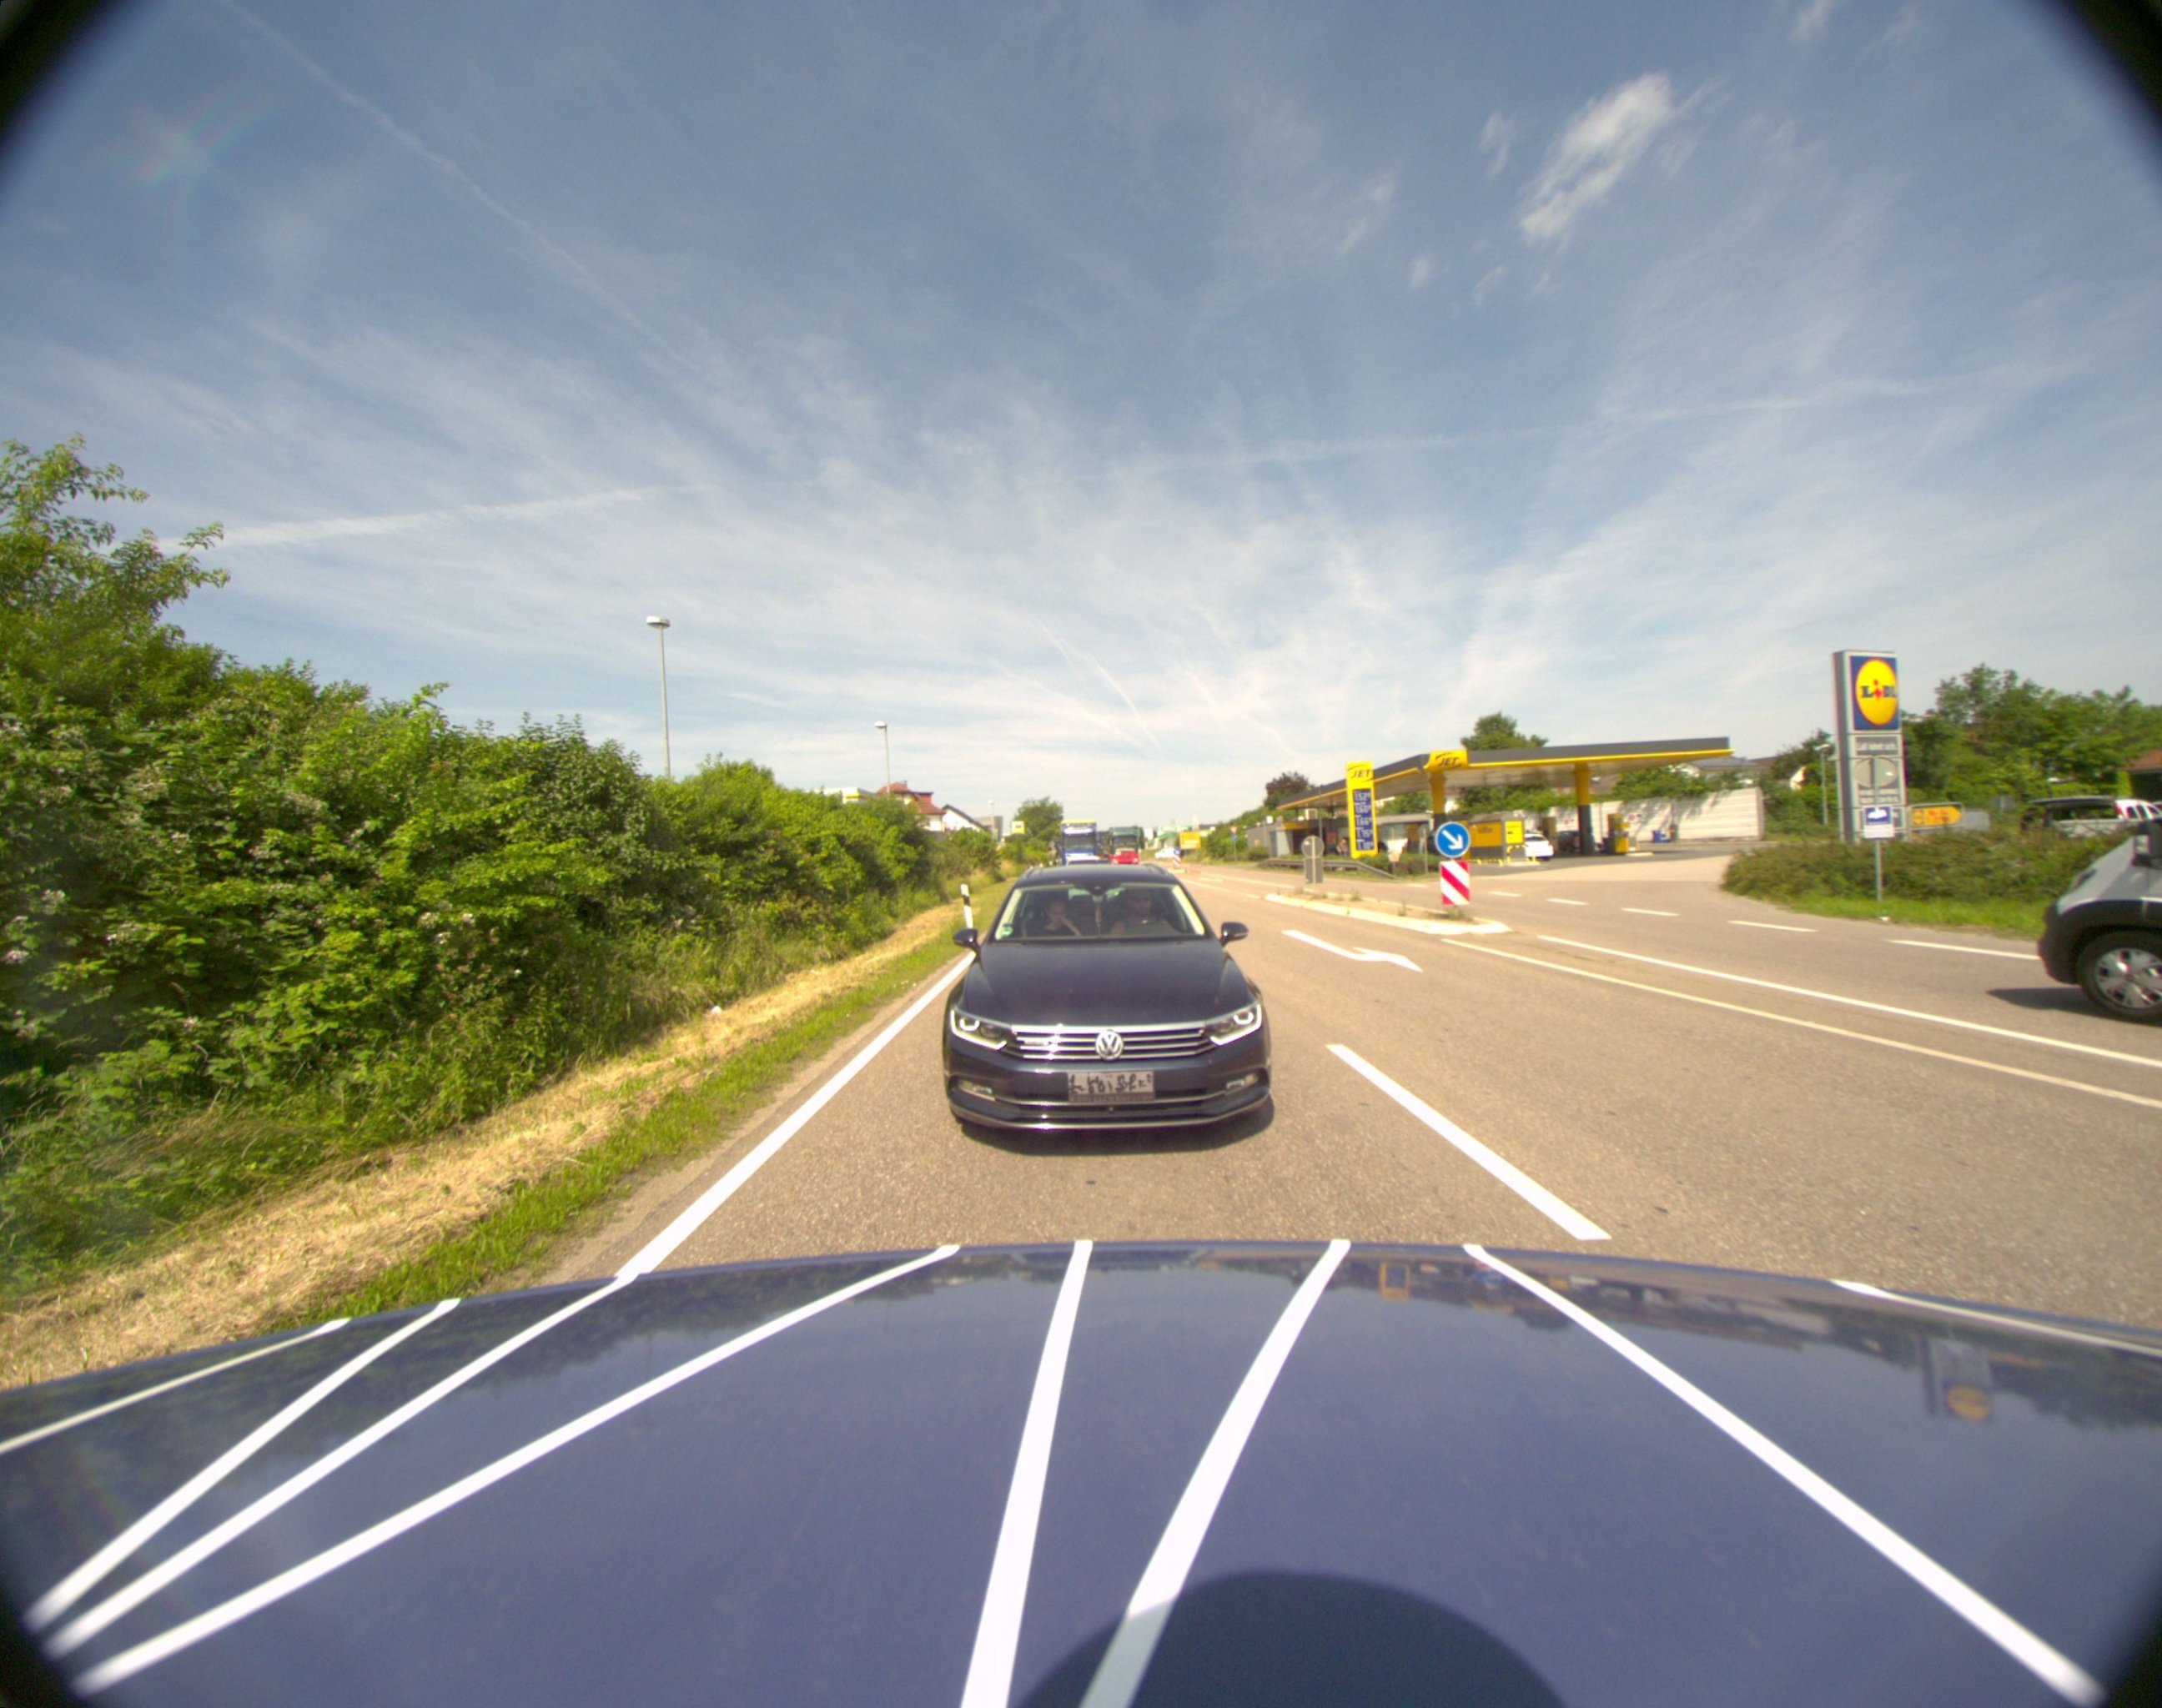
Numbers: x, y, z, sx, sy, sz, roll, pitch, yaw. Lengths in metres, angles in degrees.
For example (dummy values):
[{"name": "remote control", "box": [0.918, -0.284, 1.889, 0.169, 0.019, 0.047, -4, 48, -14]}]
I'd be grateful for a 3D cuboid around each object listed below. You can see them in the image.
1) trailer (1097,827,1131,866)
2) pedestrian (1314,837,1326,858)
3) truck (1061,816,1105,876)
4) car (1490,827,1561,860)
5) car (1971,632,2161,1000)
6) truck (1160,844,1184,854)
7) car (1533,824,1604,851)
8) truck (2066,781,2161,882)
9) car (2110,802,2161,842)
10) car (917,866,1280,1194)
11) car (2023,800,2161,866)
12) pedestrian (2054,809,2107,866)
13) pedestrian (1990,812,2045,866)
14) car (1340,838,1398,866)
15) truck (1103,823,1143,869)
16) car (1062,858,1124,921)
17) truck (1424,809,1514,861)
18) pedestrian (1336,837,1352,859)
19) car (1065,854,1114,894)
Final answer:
[{"name": "trailer", "box": [3.455, -0.773, 81.363, 2.809, 3.897, 8.667, -3, 0, -2]}, {"name": "pedestrian", "box": [20.908, -0.569, 66.507, 0.798, 1.827, 0.640, -3, 1, 1]}, {"name": "truck", "box": [0.237, -0.579, 58.108, 2.855, 3.999, 12.916, -2, 0, 1]}, {"name": "car", "box": [24.240, -0.551, 41.633, 1.736, 1.718, 4.001, -1, 0, 3]}, {"name": "car", "box": [8.694, -0.311, 3.599, 2.122, 2.638, 5.988, -2, 0, 4]}, {"name": "truck", "box": [19.502, -1.091, 162.514, 4.771, 1.997, 2.000, -3, 1, 0]}, {"name": "car", "box": [32.190, -1.065, 50.330, 1.753, 1.603, 3.873, -2, 0, -10]}, {"name": "truck", "box": [27.089, -0.591, 16.724, 2.252, 2.361, 6.336, -2, 0, -30]}, {"name": "car", "box": [44.671, -1.400, 30.779, 3.999, 1.531, 1.769, -3, 0, -7]}, {"name": "car", "box": [0.126, 0.918, 6.240, 1.756, 1.493, 4.925, -2, 0, 1]}, {"name": "car", "box": [30.685, -0.644, 22.821, 4.172, 1.801, 1.877, -3, 1, -23]}, {"name": "pedestrian", "box": [28.453, -0.458, 21.633, 0.705, 1.566, 0.807, -3, 2, -27]}, {"name": "pedestrian", "box": [27.939, -0.446, 22.669, 0.705, 1.566, 0.808, -2, 1, -15]}, {"name": "car", "box": [19.034, -0.111, 50.411, 1.999, 1.696, 4.263, -2, 0, -3]}, {"name": "truck", "box": [3.848, -0.715, 72.027, 2.675, 3.897, 10.046, -3, 0, -2]}, {"name": "car", "box": [0.316, 0.886, 20.572, 1.471, 1.451, 3.797, -2, 0, 1]}, {"name": "truck", "box": [23.848, -1.160, 47.025, 2.250, 2.906, 6.282, -2, 1, -1]}, {"name": "pedestrian", "box": [17.712, -0.400, 51.173, 0.914, 1.419, 0.494, -2, 1, 4]}, {"name": "car", "box": [0.349, 0.769, 30.973, 1.814, 1.466, 3.974, -2, 0, 1]}]
